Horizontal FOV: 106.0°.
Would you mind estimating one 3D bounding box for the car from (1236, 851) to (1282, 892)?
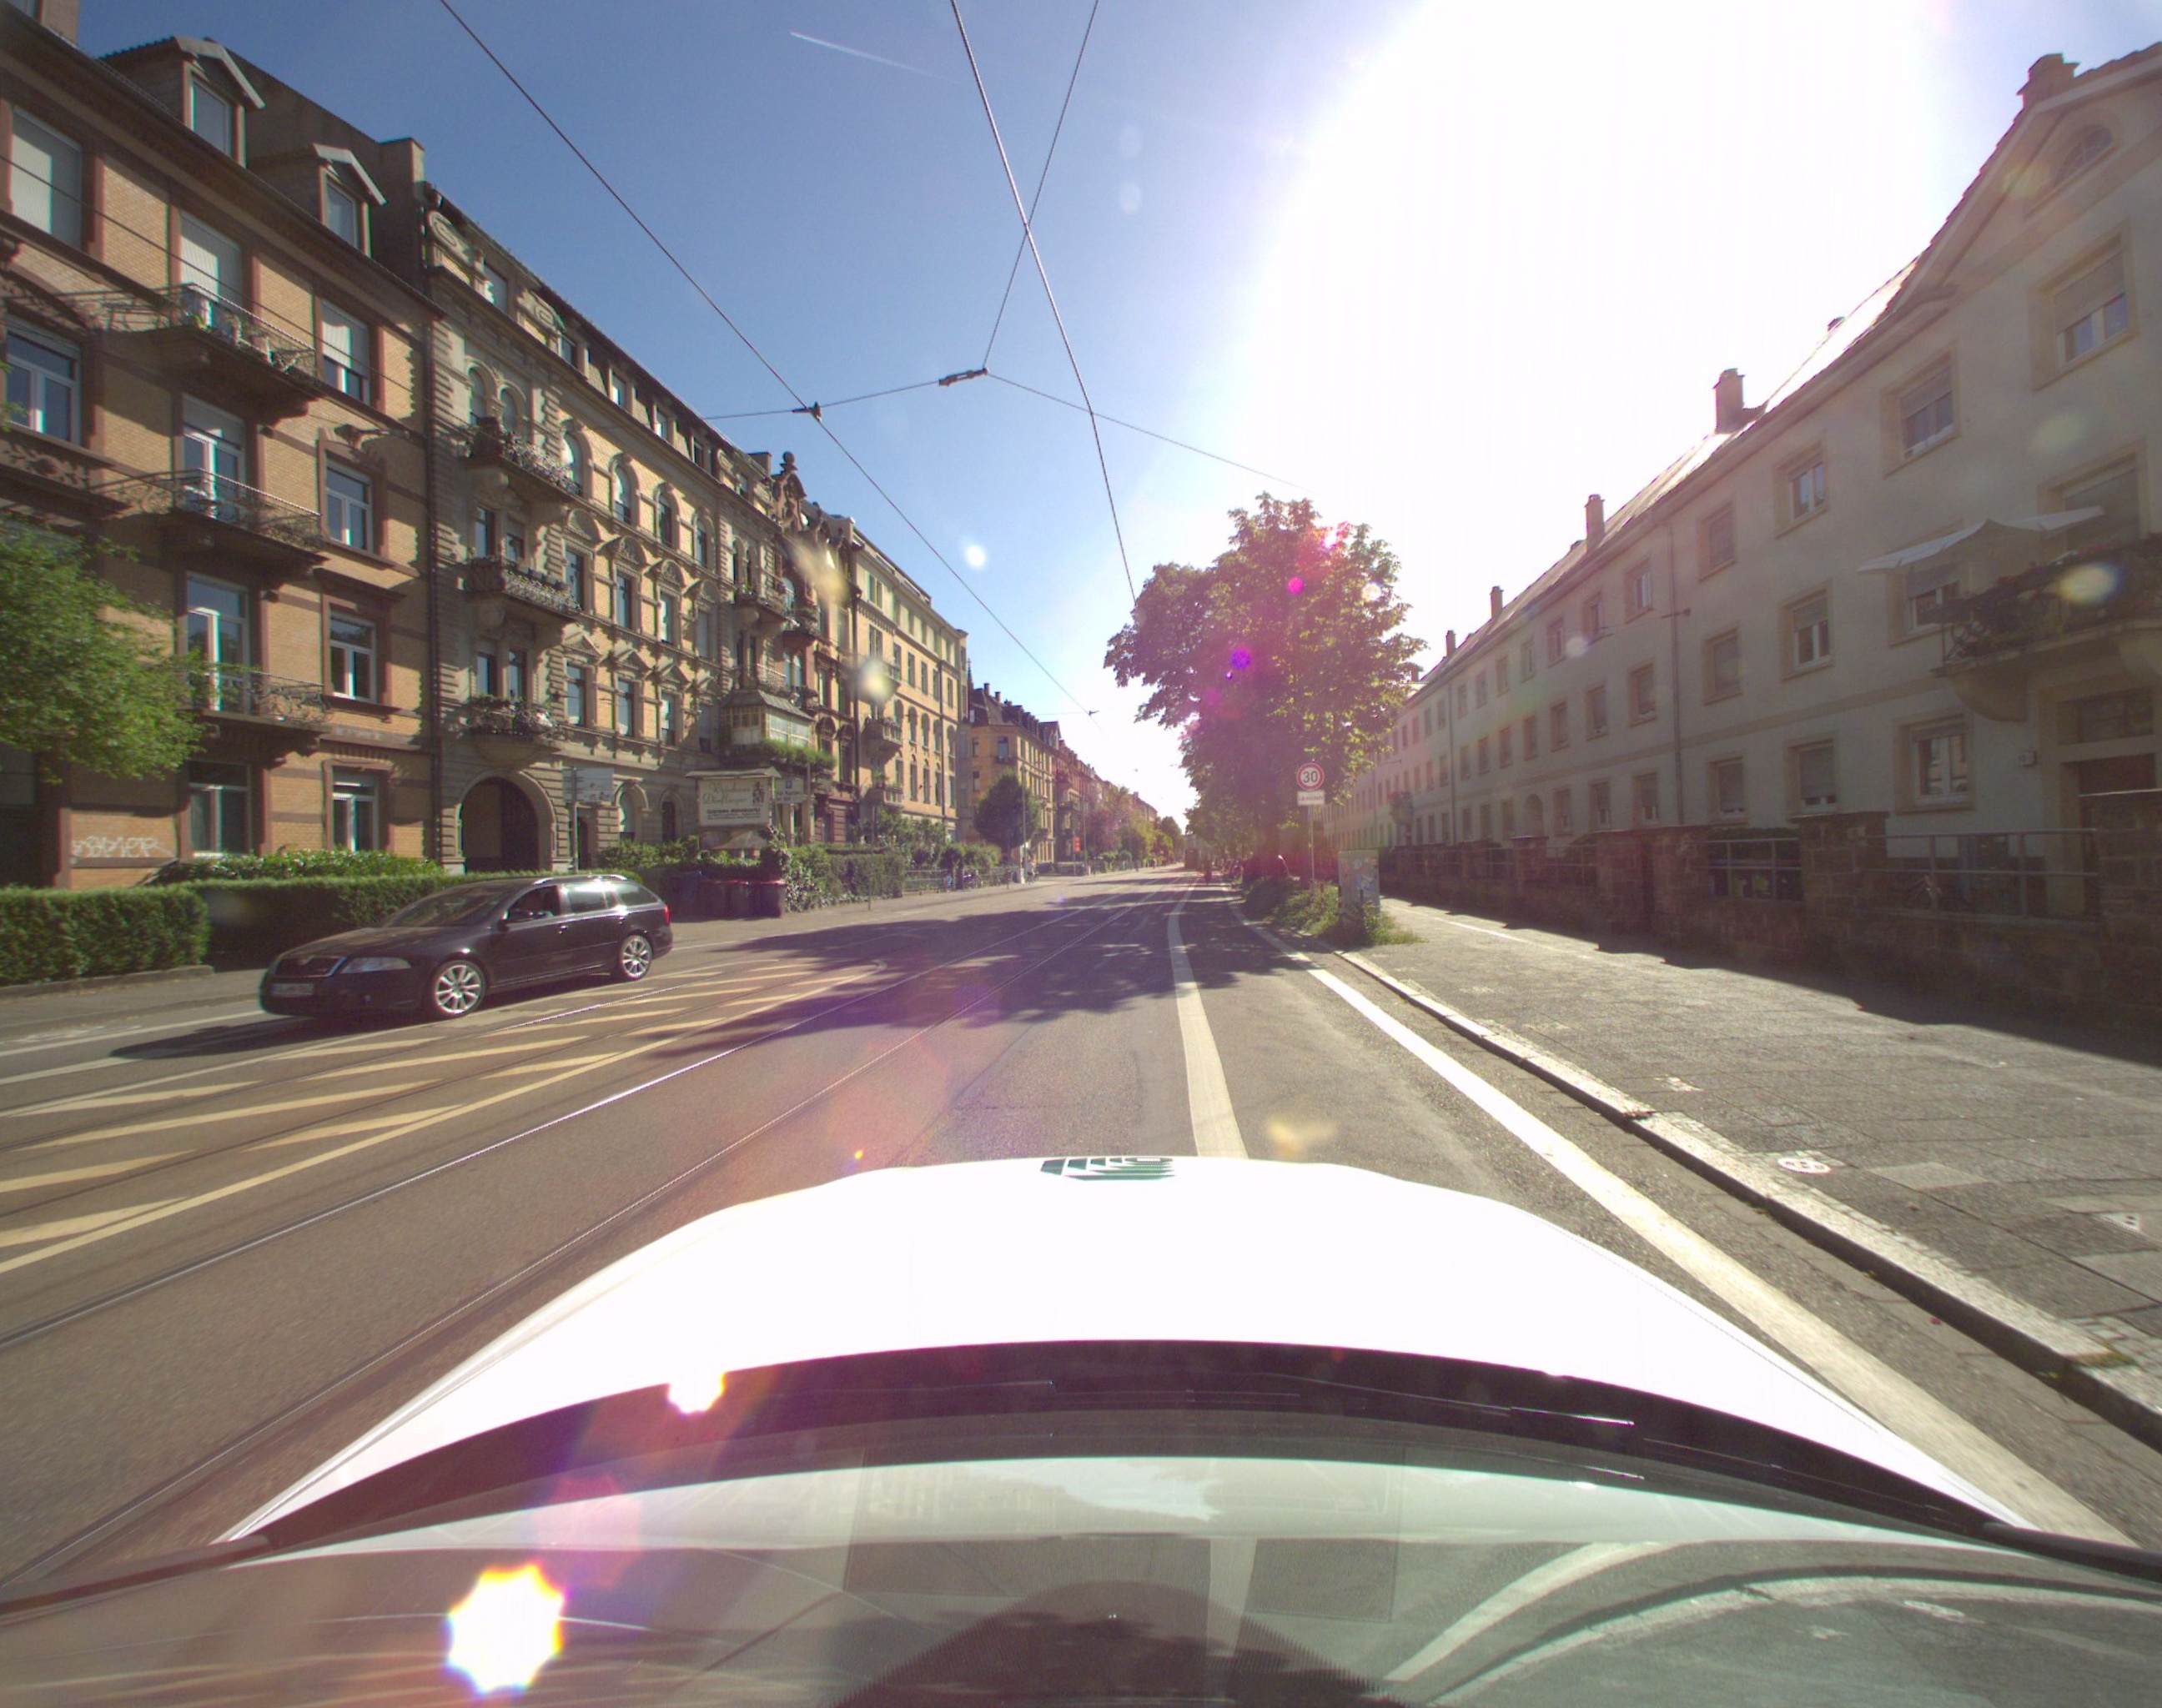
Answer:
[{"bbox_3d":[8.098,0.761,37.370,1.734,1.766,4.488,0,0,8],"label":"car"}]

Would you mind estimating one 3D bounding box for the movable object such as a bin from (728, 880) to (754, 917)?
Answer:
[{"bbox_3d":[-10.189,1.326,24.434,0.476,1.086,0.543,0,-1,10],"label":"movable object such as a bin"}]

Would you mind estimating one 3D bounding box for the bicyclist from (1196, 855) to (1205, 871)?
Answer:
[{"bbox_3d":[10.864,0.841,73.991,0.629,1.468,0.619,0,-1,40],"label":"bicyclist"}]

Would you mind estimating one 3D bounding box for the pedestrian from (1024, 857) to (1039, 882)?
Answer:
[{"bbox_3d":[-3.432,1.097,56.550,0.824,1.724,1.085,0,-2,8],"label":"pedestrian"}]

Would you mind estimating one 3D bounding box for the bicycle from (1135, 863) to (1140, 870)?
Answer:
[{"bbox_3d":[7.970,1.808,114.152,0.457,0.926,2.208,-3,-1,9],"label":"bicycle"}]

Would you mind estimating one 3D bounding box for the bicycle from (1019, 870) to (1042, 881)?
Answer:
[{"bbox_3d":[-4.169,1.795,67.245,1.792,0.914,0.615,1,-3,-27],"label":"bicycle"}]

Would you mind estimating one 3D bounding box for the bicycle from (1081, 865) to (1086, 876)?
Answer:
[{"bbox_3d":[0.285,1.785,87.047,0.368,1.126,0.811,0,-1,9],"label":"bicycle"}]

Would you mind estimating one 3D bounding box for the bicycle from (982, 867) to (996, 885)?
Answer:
[{"bbox_3d":[-5.779,1.374,51.257,0.564,1.033,1.758,3,0,-15],"label":"bicycle"}]

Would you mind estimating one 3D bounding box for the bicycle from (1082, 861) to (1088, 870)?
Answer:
[{"bbox_3d":[0.401,1.217,87.984,0.333,1.001,1.874,0,0,9],"label":"bicycle"}]

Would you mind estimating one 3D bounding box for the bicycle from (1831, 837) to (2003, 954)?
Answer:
[{"bbox_3d":[10.098,0.464,9.925,0.456,1.300,1.674,0,-1,4],"label":"bicycle"}]

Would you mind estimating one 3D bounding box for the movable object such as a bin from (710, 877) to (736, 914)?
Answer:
[{"bbox_3d":[-10.773,1.241,24.531,0.476,1.086,0.543,0,-1,10],"label":"movable object such as a bin"}]

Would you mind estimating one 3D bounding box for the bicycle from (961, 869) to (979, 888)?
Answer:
[{"bbox_3d":[-6.256,1.373,46.007,0.560,1.033,1.771,0,0,8],"label":"bicycle"}]

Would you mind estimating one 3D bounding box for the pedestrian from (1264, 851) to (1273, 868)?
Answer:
[{"bbox_3d":[18.513,0.553,80.370,0.755,1.724,0.583,0,-1,38],"label":"pedestrian"}]

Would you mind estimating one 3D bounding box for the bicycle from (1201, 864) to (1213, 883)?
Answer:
[{"bbox_3d":[7.572,1.180,48.938,0.687,1.112,1.723,0,-1,9],"label":"bicycle"}]

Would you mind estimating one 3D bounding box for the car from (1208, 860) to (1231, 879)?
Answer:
[{"bbox_3d":[11.376,1.231,66.999,1.710,1.474,4.255,-2,-1,8],"label":"car"}]

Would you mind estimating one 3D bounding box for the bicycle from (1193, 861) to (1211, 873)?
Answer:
[{"bbox_3d":[11.014,1.163,74.151,0.685,1.112,1.929,0,-1,40],"label":"bicycle"}]

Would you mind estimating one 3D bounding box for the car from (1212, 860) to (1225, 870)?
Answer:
[{"bbox_3d":[20.601,1.651,122.075,1.620,1.436,4.672,-2,-1,6],"label":"car"}]

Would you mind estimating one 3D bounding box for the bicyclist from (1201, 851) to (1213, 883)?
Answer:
[{"bbox_3d":[7.552,0.778,48.885,0.723,1.848,0.838,0,-1,8],"label":"bicyclist"}]

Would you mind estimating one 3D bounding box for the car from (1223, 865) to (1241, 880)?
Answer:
[{"bbox_3d":[16.262,1.992,87.653,1.776,1.464,4.054,-2,-1,9],"label":"car"}]

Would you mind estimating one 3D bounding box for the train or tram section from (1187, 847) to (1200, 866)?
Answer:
[{"bbox_3d":[20.436,0.516,147.656,2.141,3.432,6.627,0,0,9],"label":"train or tram section"}]

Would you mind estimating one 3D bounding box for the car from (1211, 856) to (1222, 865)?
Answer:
[{"bbox_3d":[23.614,1.126,141.656,1.738,1.420,4.009,-2,-1,8],"label":"car"}]

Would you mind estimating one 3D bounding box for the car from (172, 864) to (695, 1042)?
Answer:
[{"bbox_3d":[-7.123,0.922,9.899,1.821,1.518,4.980,1,0,9],"label":"car"}]

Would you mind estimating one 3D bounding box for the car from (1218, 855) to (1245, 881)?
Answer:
[{"bbox_3d":[10.577,0.964,57.298,1.656,1.761,4.241,-1,-1,8],"label":"car"}]

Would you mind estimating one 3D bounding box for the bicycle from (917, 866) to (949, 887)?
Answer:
[{"bbox_3d":[-7.898,1.209,43.559,1.566,1.033,0.480,2,0,8],"label":"bicycle"}]

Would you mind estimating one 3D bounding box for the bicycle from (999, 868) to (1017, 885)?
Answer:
[{"bbox_3d":[-4.758,1.453,53.274,0.566,1.033,1.752,0,1,-27],"label":"bicycle"}]

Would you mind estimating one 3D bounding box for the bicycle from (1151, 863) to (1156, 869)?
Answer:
[{"bbox_3d":[12.945,2.087,144.924,0.687,1.112,1.723,-2,-1,9],"label":"bicycle"}]

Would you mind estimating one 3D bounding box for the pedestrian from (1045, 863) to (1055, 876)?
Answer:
[{"bbox_3d":[-3.386,1.710,88.137,0.895,1.352,0.579,-3,-1,10],"label":"pedestrian"}]

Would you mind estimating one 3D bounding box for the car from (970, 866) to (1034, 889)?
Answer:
[{"bbox_3d":[-5.941,1.764,61.409,4.417,1.644,1.972,0,-1,11],"label":"car"}]

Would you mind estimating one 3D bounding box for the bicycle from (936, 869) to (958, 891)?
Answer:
[{"bbox_3d":[-6.953,1.341,42.243,0.559,1.033,1.772,1,1,10],"label":"bicycle"}]

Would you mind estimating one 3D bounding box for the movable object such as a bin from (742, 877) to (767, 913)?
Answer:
[{"bbox_3d":[-10.042,1.261,25.034,0.476,1.086,0.543,0,-1,10],"label":"movable object such as a bin"}]

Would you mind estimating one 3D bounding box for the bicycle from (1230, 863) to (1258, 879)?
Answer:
[{"bbox_3d":[10.770,1.110,53.807,1.750,1.078,0.435,0,-1,10],"label":"bicycle"}]

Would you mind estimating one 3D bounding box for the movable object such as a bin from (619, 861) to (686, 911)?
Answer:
[{"bbox_3d":[-12.960,0.942,24.679,1.311,1.447,1.174,0,-1,10],"label":"movable object such as a bin"}]

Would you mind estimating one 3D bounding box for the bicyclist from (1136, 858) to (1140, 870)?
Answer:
[{"bbox_3d":[7.960,1.447,114.226,0.461,1.618,0.746,-3,-1,9],"label":"bicyclist"}]

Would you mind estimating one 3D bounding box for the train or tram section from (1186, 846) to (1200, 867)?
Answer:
[{"bbox_3d":[19.430,0.457,141.076,2.141,3.432,6.627,0,0,9],"label":"train or tram section"}]

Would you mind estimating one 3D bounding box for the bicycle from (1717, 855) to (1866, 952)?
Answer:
[{"bbox_3d":[8.667,0.567,10.022,0.456,1.092,1.674,0,0,4],"label":"bicycle"}]

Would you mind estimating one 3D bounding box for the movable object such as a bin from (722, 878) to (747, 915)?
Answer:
[{"bbox_3d":[-10.685,1.308,25.152,0.476,1.086,0.543,0,-1,10],"label":"movable object such as a bin"}]

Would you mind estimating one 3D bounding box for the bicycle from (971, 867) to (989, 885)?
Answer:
[{"bbox_3d":[-5.944,1.288,48.068,0.560,1.033,1.771,0,0,8],"label":"bicycle"}]

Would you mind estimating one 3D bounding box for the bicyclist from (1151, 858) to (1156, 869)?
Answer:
[{"bbox_3d":[12.933,1.683,144.943,0.656,1.802,0.617,-3,-2,9],"label":"bicyclist"}]

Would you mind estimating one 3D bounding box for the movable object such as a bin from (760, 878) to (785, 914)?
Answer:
[{"bbox_3d":[-9.465,1.276,25.015,0.476,1.086,0.543,0,-1,10],"label":"movable object such as a bin"}]
